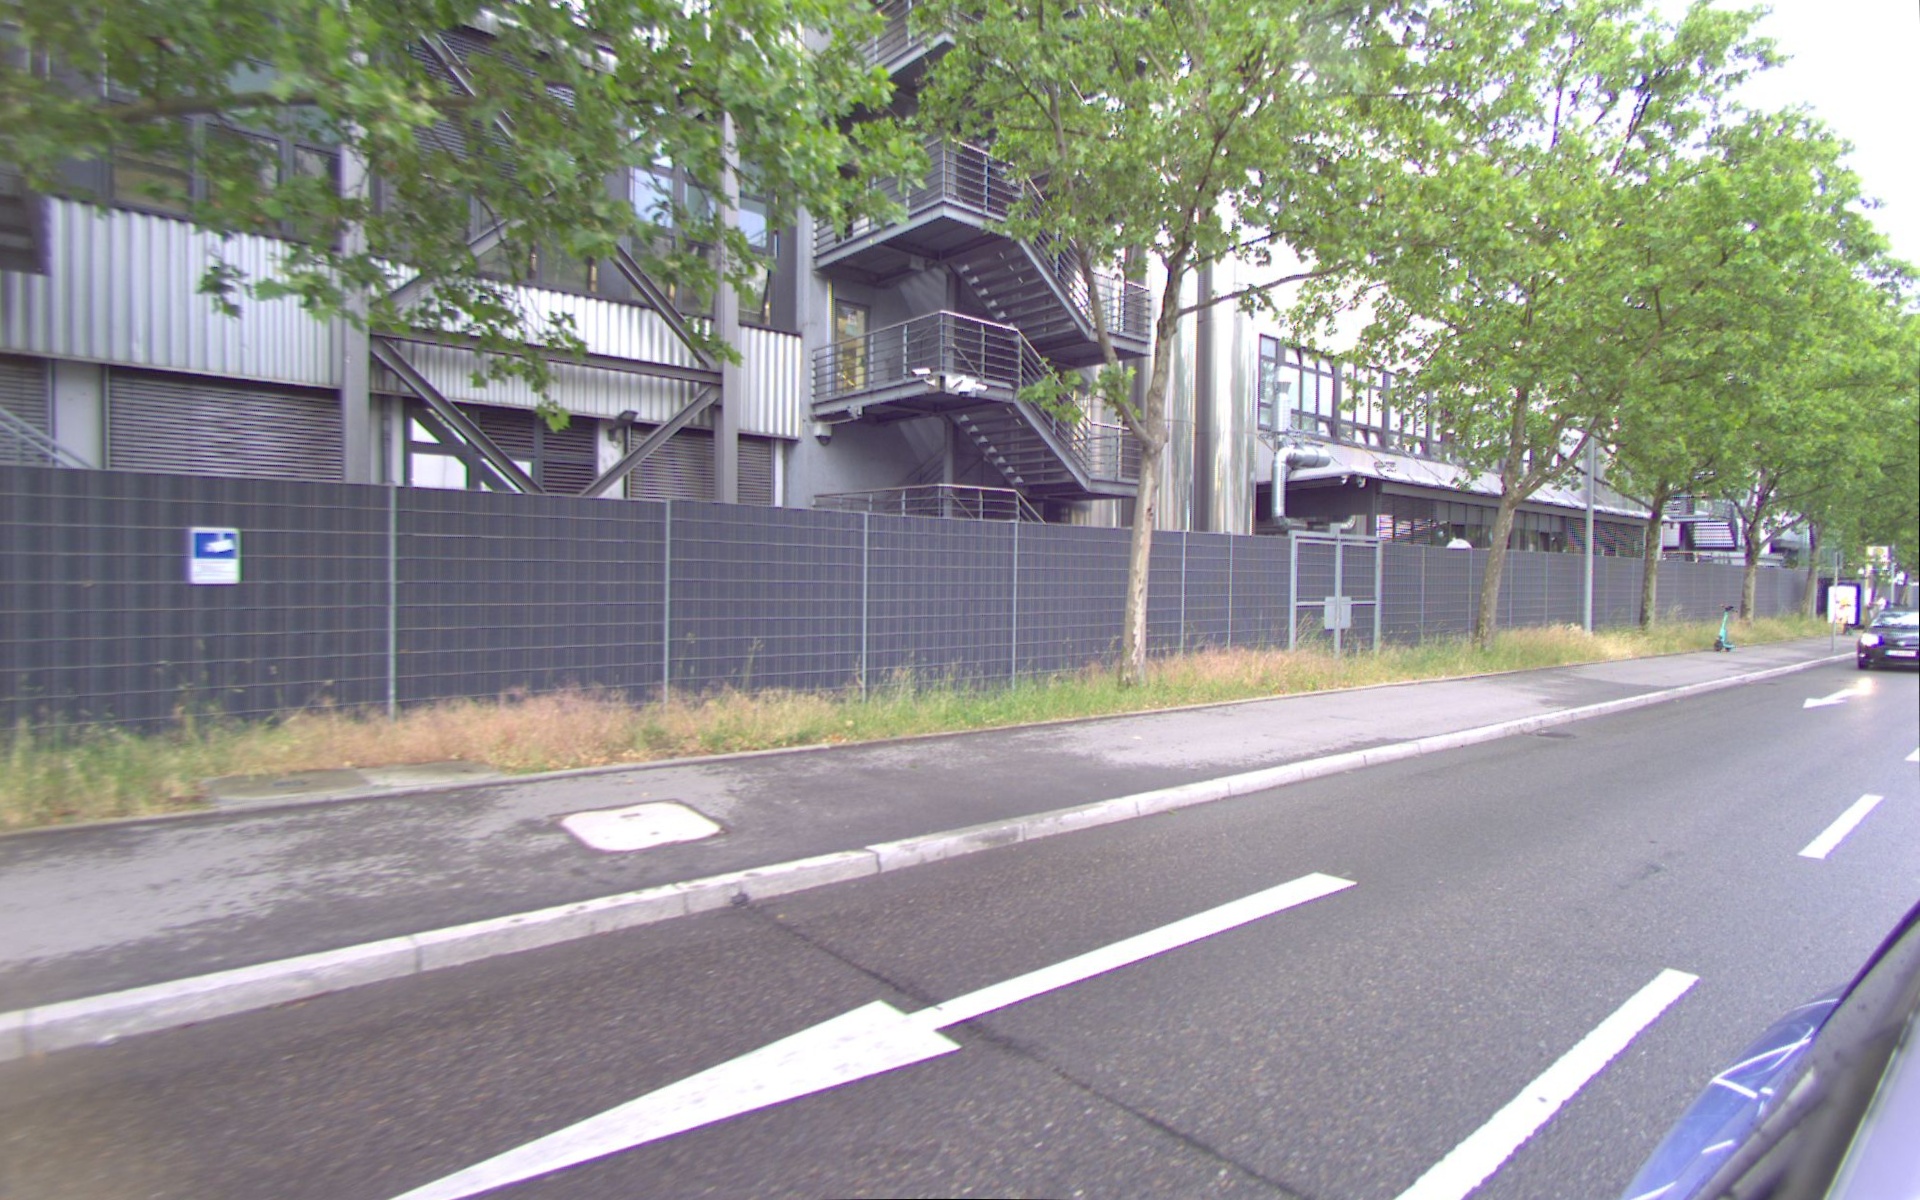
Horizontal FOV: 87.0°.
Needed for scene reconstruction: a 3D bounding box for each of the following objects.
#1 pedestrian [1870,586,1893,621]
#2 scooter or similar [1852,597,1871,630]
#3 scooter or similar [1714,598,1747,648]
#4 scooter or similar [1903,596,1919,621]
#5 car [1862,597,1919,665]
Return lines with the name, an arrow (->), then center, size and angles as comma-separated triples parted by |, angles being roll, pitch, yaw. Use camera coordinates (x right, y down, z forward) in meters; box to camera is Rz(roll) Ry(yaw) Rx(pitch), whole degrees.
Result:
pedestrian -> 45.710, 0.178, 50.203 | 0.717, 1.731, 0.777 | 0, 1, -42
scooter or similar -> 36.823, 0.549, 41.350 | 1.222, 1.325, 0.329 | 0, 1, -37
scooter or similar -> 20.200, 0.593, 26.535 | 1.087, 1.285, 0.330 | 0, 1, -33
scooter or similar -> 50.354, 0.430, 53.595 | 1.277, 1.311, 0.437 | 0, 1, -39
car -> 23.155, 0.716, 24.356 | 4.010, 1.512, 1.877 | 0, 2, -45
